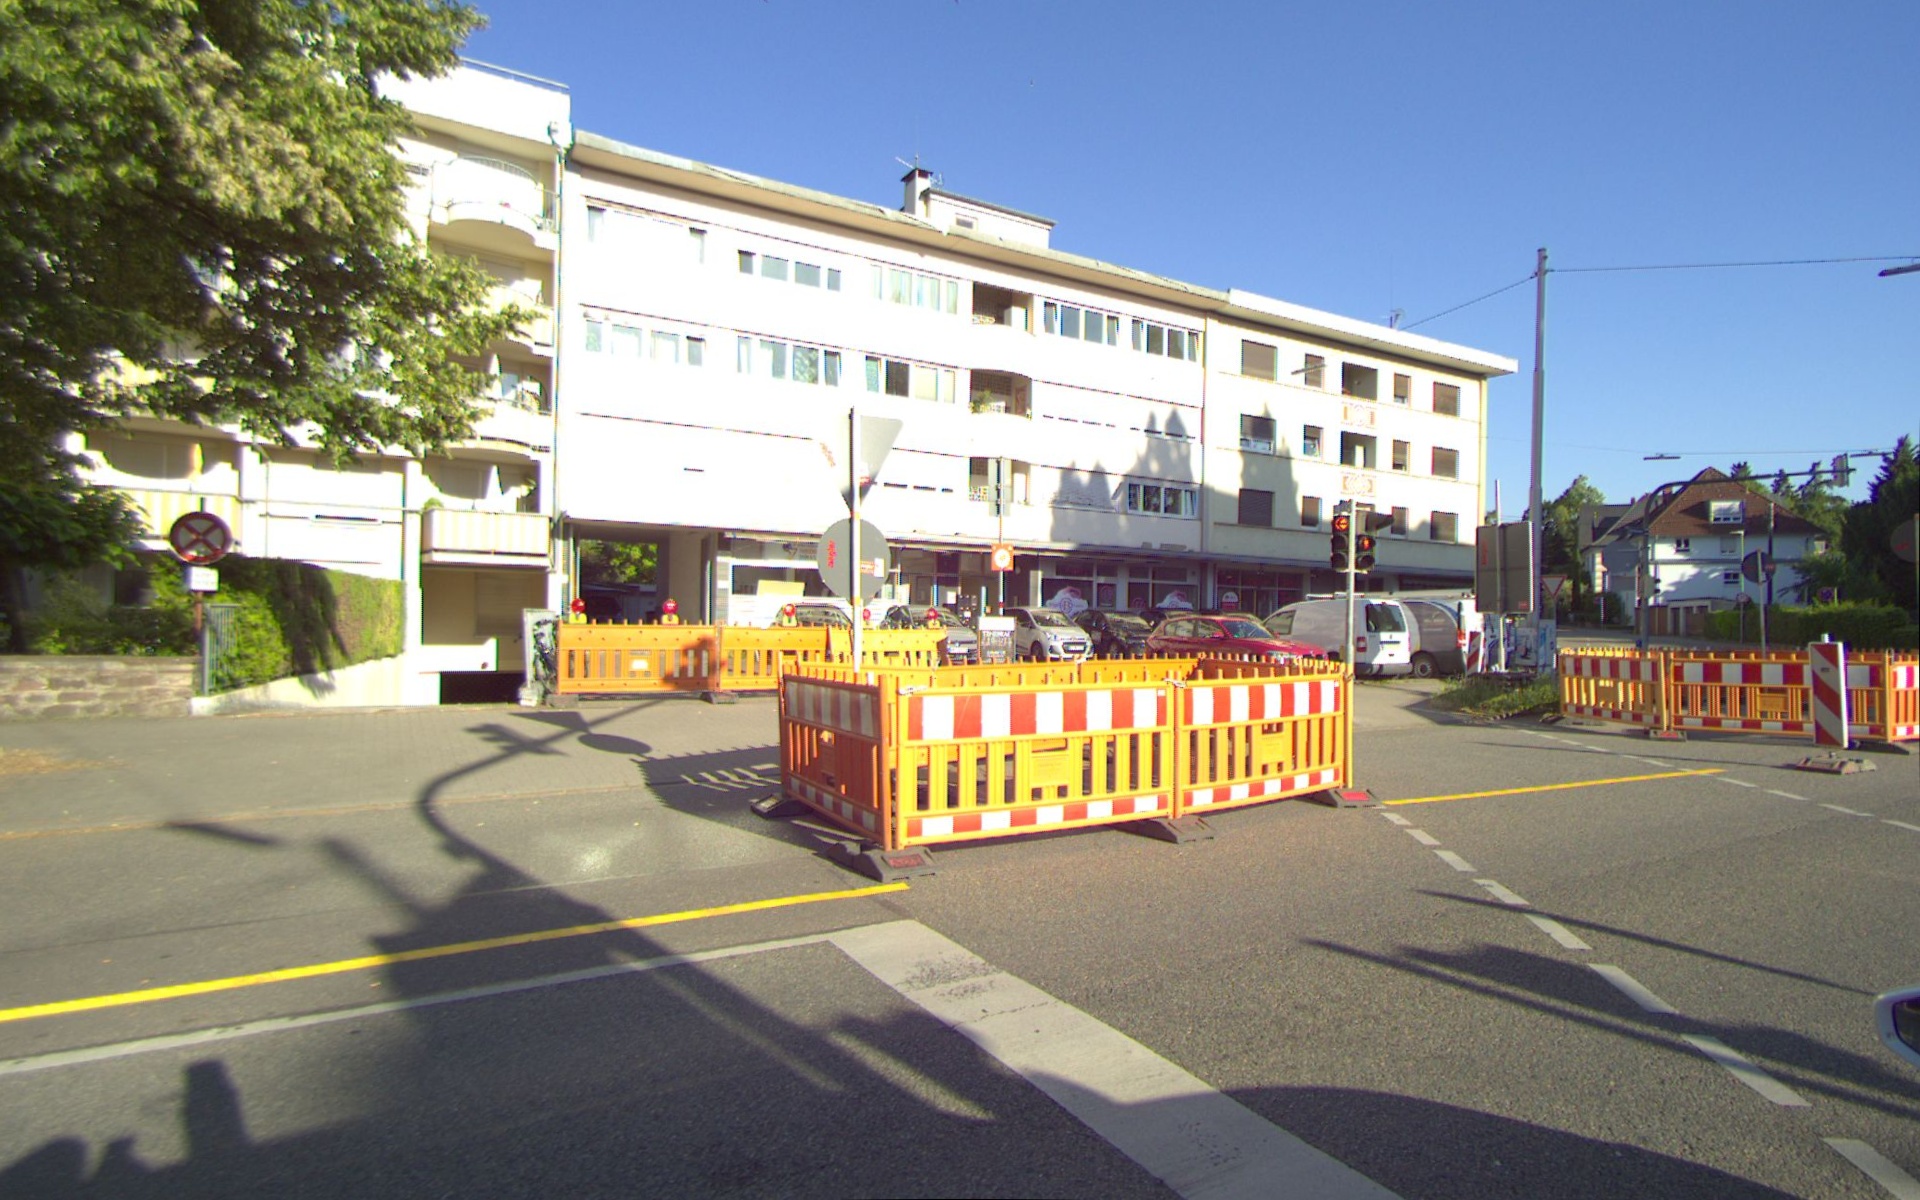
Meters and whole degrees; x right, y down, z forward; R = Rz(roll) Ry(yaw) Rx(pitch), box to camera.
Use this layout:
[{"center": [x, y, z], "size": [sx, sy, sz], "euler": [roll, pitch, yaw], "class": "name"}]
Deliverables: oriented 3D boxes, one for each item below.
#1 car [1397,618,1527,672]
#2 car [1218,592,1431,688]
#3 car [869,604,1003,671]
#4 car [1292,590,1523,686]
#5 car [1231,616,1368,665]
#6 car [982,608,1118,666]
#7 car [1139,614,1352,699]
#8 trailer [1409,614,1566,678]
[{"center": [18.520, 1.617, 37.313], "size": [1.966, 1.738, 4.315], "euler": [1, 1, -14], "class": "car"}, {"center": [7.956, 0.801, 22.357], "size": [1.973, 1.876, 4.300], "euler": [1, 1, -25], "class": "car"}, {"center": [-0.732, 0.938, 26.673], "size": [1.973, 1.530, 4.299], "euler": [1, 1, -26], "class": "car"}, {"center": [10.424, 0.800, 23.797], "size": [2.092, 1.991, 4.645], "euler": [1, 1, -30], "class": "car"}, {"center": [11.423, 1.330, 34.088], "size": [1.973, 1.417, 4.299], "euler": [1, 1, -26], "class": "car"}, {"center": [2.492, 1.008, 28.982], "size": [1.973, 1.417, 4.299], "euler": [1, 1, -26], "class": "car"}, {"center": [5.817, 1.093, 20.902], "size": [1.978, 1.499, 3.969], "euler": [1, 0, -32], "class": "car"}, {"center": [13.511, 1.138, 25.857], "size": [1.555, 1.415, 3.238], "euler": [1, 1, -30], "class": "trailer"}]
